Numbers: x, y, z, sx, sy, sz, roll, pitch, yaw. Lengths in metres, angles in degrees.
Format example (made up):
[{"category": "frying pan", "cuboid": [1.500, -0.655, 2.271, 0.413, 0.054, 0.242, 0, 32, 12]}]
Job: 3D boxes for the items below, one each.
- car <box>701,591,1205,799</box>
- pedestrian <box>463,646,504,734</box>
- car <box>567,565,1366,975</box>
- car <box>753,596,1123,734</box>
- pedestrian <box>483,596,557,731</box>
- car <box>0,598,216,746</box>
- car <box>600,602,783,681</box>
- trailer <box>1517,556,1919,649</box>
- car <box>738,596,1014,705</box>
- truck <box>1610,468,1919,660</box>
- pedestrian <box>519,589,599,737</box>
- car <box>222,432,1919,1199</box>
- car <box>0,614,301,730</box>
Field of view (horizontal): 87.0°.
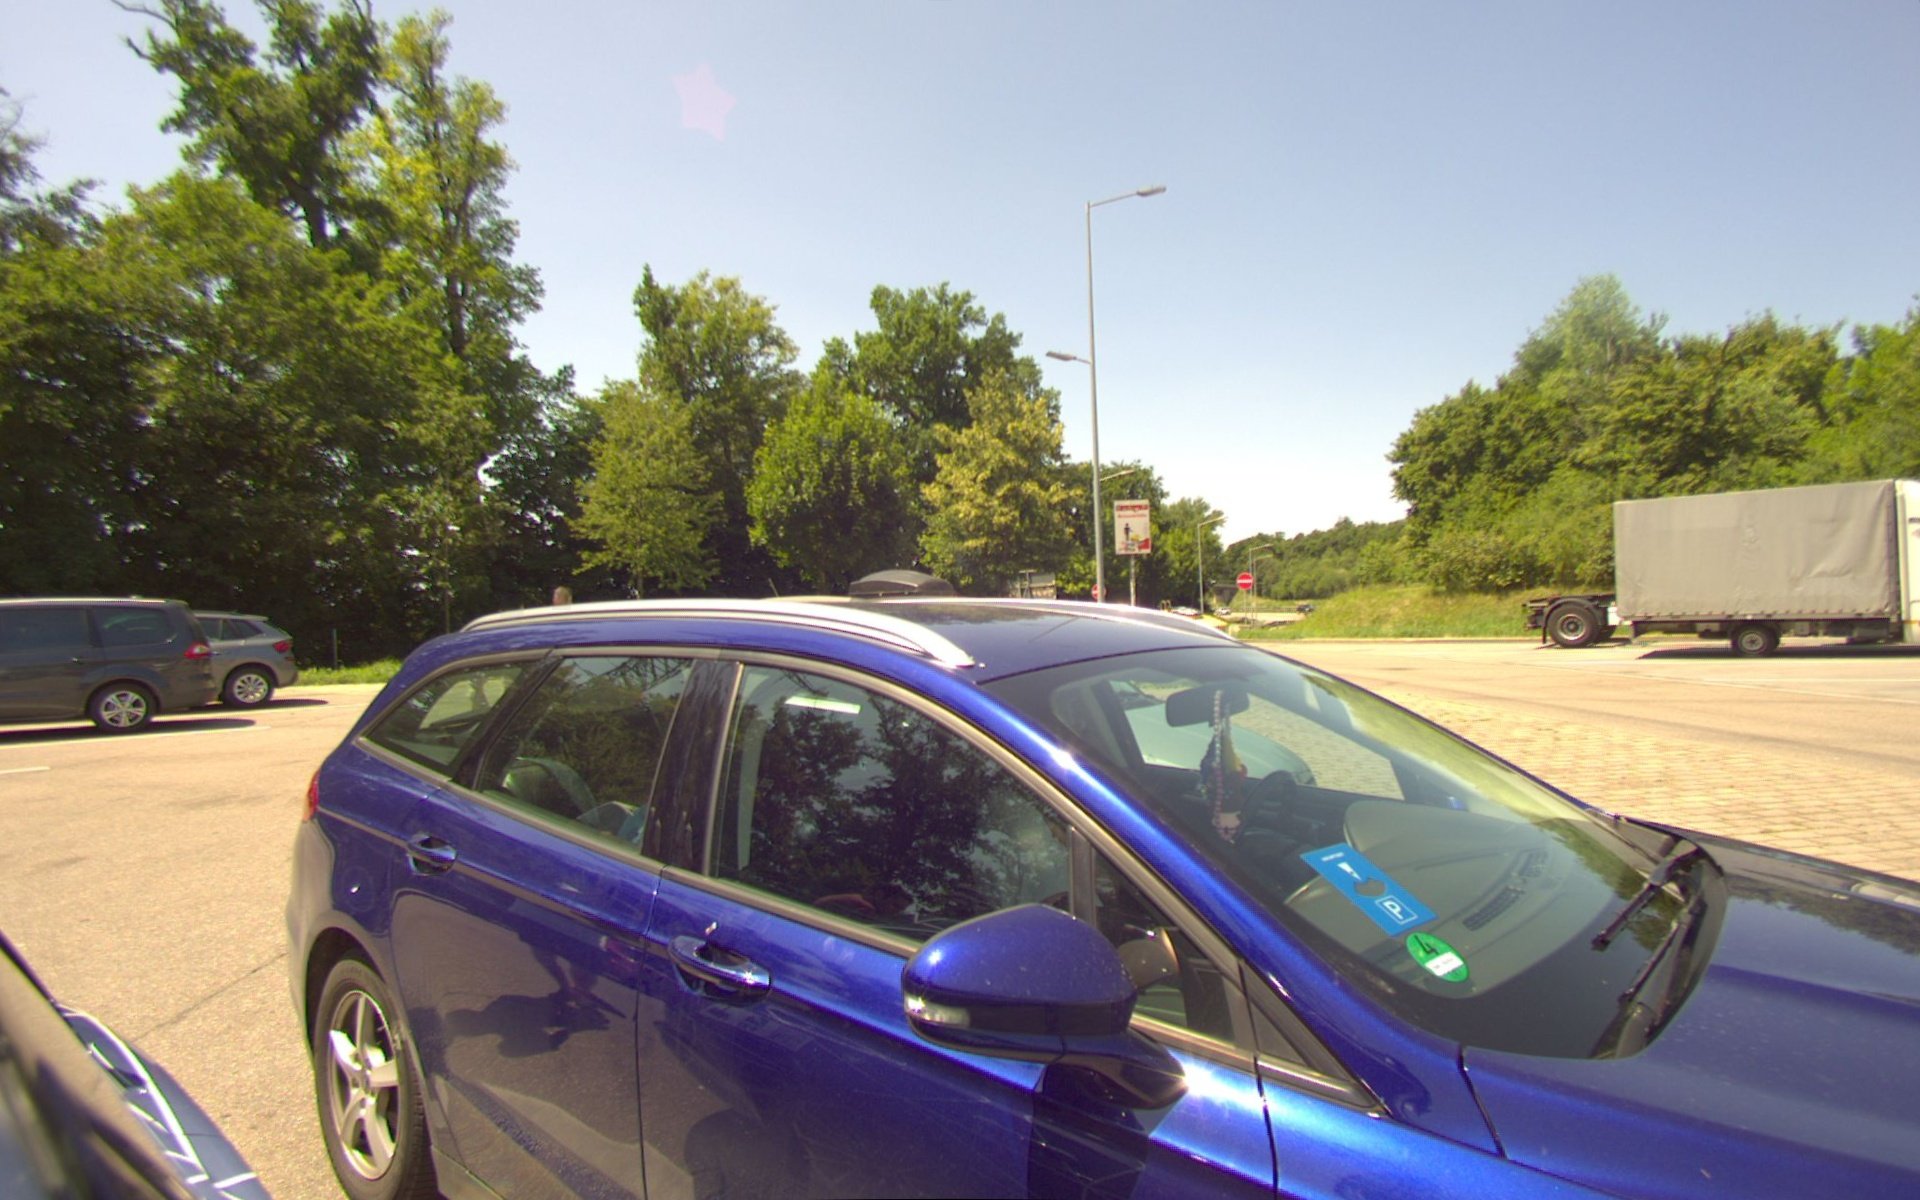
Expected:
[{"category": "car", "cuboid": [-0.251, 0.754, 9.224, 4.490, 1.437, 1.754, -3, -1, 40]}, {"category": "pedestrian", "cuboid": [-5.950, 1.110, 12.626, 0.427, 1.052, 0.441, -1, -1, -28]}, {"category": "car", "cuboid": [-0.265, 0.698, 5.850, 4.490, 1.511, 1.754, -3, -1, 40]}, {"category": "car", "cuboid": [-0.391, 0.780, 12.772, 4.485, 1.437, 1.756, -3, -1, 36]}, {"category": "pedestrian", "cuboid": [-5.723, 0.797, 13.153, 0.819, 1.676, 0.678, -1, -1, -28]}, {"category": "car", "cuboid": [-11.948, 0.861, 12.316, 4.553, 1.725, 1.741, 0, -1, -41]}, {"category": "car", "cuboid": [-6.407, 0.931, 24.761, 1.987, 1.725, 4.583, -1, 0, 22]}, {"category": "trailer", "cuboid": [17.250, 0.135, 23.403, 7.295, 1.701, 2.235, -4, -1, 43]}, {"category": "car", "cuboid": [-1.482, 0.831, 16.871, 4.485, 1.562, 1.756, -3, -1, 36]}, {"category": "truck", "cuboid": [16.823, -0.646, 18.975, 7.295, 3.259, 2.709, -4, -1, 43]}, {"category": "pedestrian", "cuboid": [-4.967, 0.752, 12.523, 0.819, 1.746, 0.678, -1, -1, -28]}, {"category": "car", "cuboid": [0.246, 0.665, 2.151, 4.490, 1.502, 1.851, -3, 0, 40]}, {"category": "car", "cuboid": [-12.602, 1.007, 15.480, 1.687, 1.515, 3.943, -1, 0, 43]}]
